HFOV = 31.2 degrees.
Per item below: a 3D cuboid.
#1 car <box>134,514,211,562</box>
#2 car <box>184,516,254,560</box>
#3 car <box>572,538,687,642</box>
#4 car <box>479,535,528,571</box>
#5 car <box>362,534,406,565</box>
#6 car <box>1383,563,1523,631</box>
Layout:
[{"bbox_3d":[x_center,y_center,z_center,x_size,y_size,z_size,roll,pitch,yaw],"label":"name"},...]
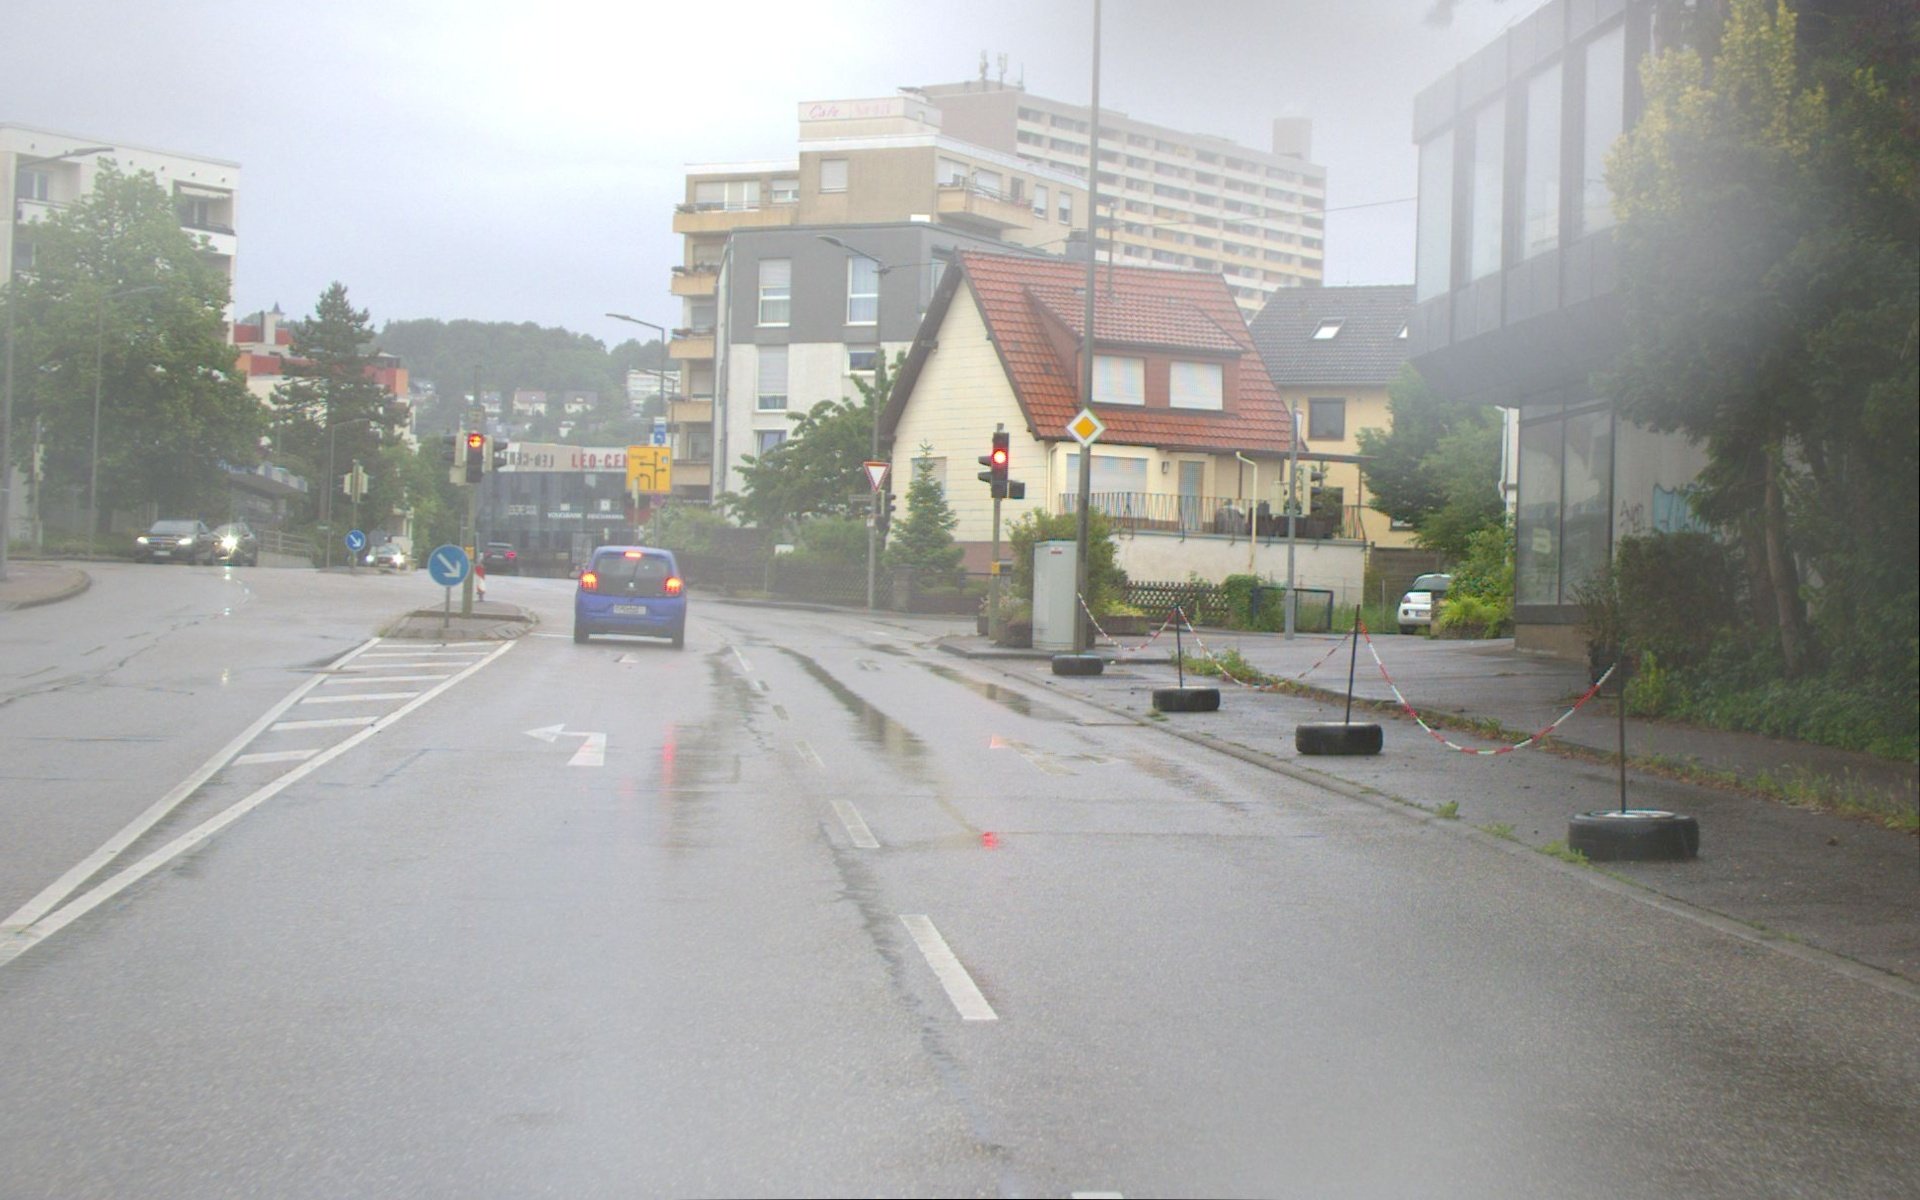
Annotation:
[{"bbox_3d":[-24.606,-1.934,107.471,1.778,1.415,3.831,2,1,-5],"label":"car"},{"bbox_3d":[-24.680,-2.061,114.605,1.715,1.382,4.021,2,1,-5],"label":"car"},{"bbox_3d":[-4.854,-0.169,50.781,1.578,1.406,3.271,3,1,-4],"label":"car"},{"bbox_3d":[-19.677,-2.044,148.355,1.812,1.481,4.190,1,1,-4],"label":"car"},{"bbox_3d":[-28.495,-2.511,170.167,1.778,1.415,3.831,2,1,-5],"label":"car"},{"bbox_3d":[11.723,-0.061,81.511,1.743,1.509,3.992,3,1,32],"label":"car"}]
